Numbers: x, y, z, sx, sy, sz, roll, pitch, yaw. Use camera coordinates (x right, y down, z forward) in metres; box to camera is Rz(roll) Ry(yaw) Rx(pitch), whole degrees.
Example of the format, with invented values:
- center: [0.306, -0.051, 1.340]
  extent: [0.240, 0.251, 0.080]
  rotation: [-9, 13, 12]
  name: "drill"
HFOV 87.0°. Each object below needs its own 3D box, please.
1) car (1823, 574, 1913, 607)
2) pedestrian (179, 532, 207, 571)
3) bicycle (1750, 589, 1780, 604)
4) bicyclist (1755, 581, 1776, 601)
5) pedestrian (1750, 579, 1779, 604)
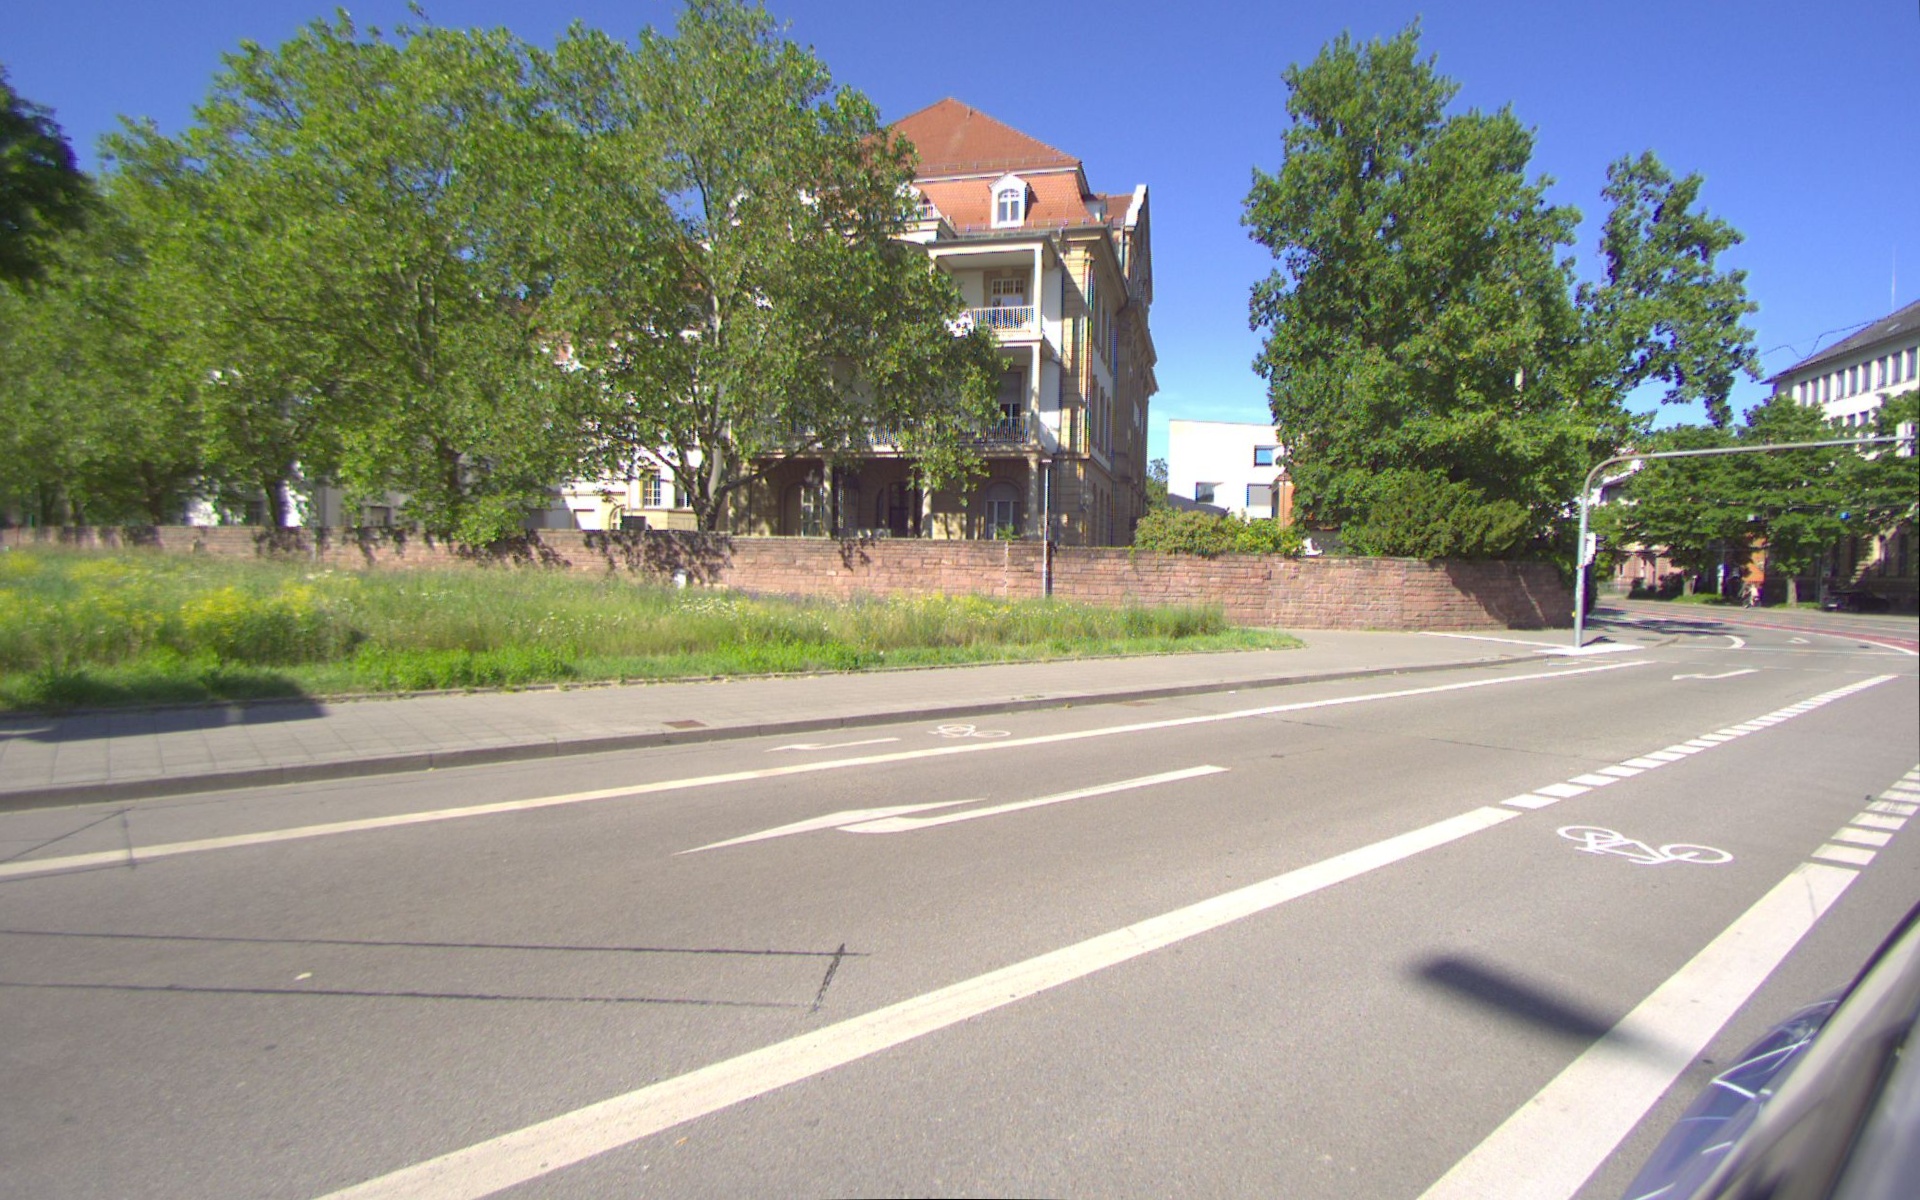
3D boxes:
- center: [61.210, -0.647, 68.247]
  extent: [4.615, 2.038, 2.004]
  rotation: [1, 2, -9]
  name: "car"
- center: [-29.899, -1.886, 39.464]
  extent: [0.516, 1.461, 0.721]
  rotation: [0, 0, 20]
  name: "pedestrian"
- center: [57.112, -0.236, 71.820]
  extent: [0.720, 1.003, 1.834]
  rotation: [1, 2, 3]
  name: "bicycle"
- center: [57.122, -0.620, 71.799]
  extent: [0.720, 1.402, 0.895]
  rotation: [1, 1, 3]
  name: "bicyclist"
- center: [60.582, -0.632, 76.197]
  extent: [1.366, 1.844, 0.937]
  rotation: [1, 1, 4]
  name: "pedestrian"
